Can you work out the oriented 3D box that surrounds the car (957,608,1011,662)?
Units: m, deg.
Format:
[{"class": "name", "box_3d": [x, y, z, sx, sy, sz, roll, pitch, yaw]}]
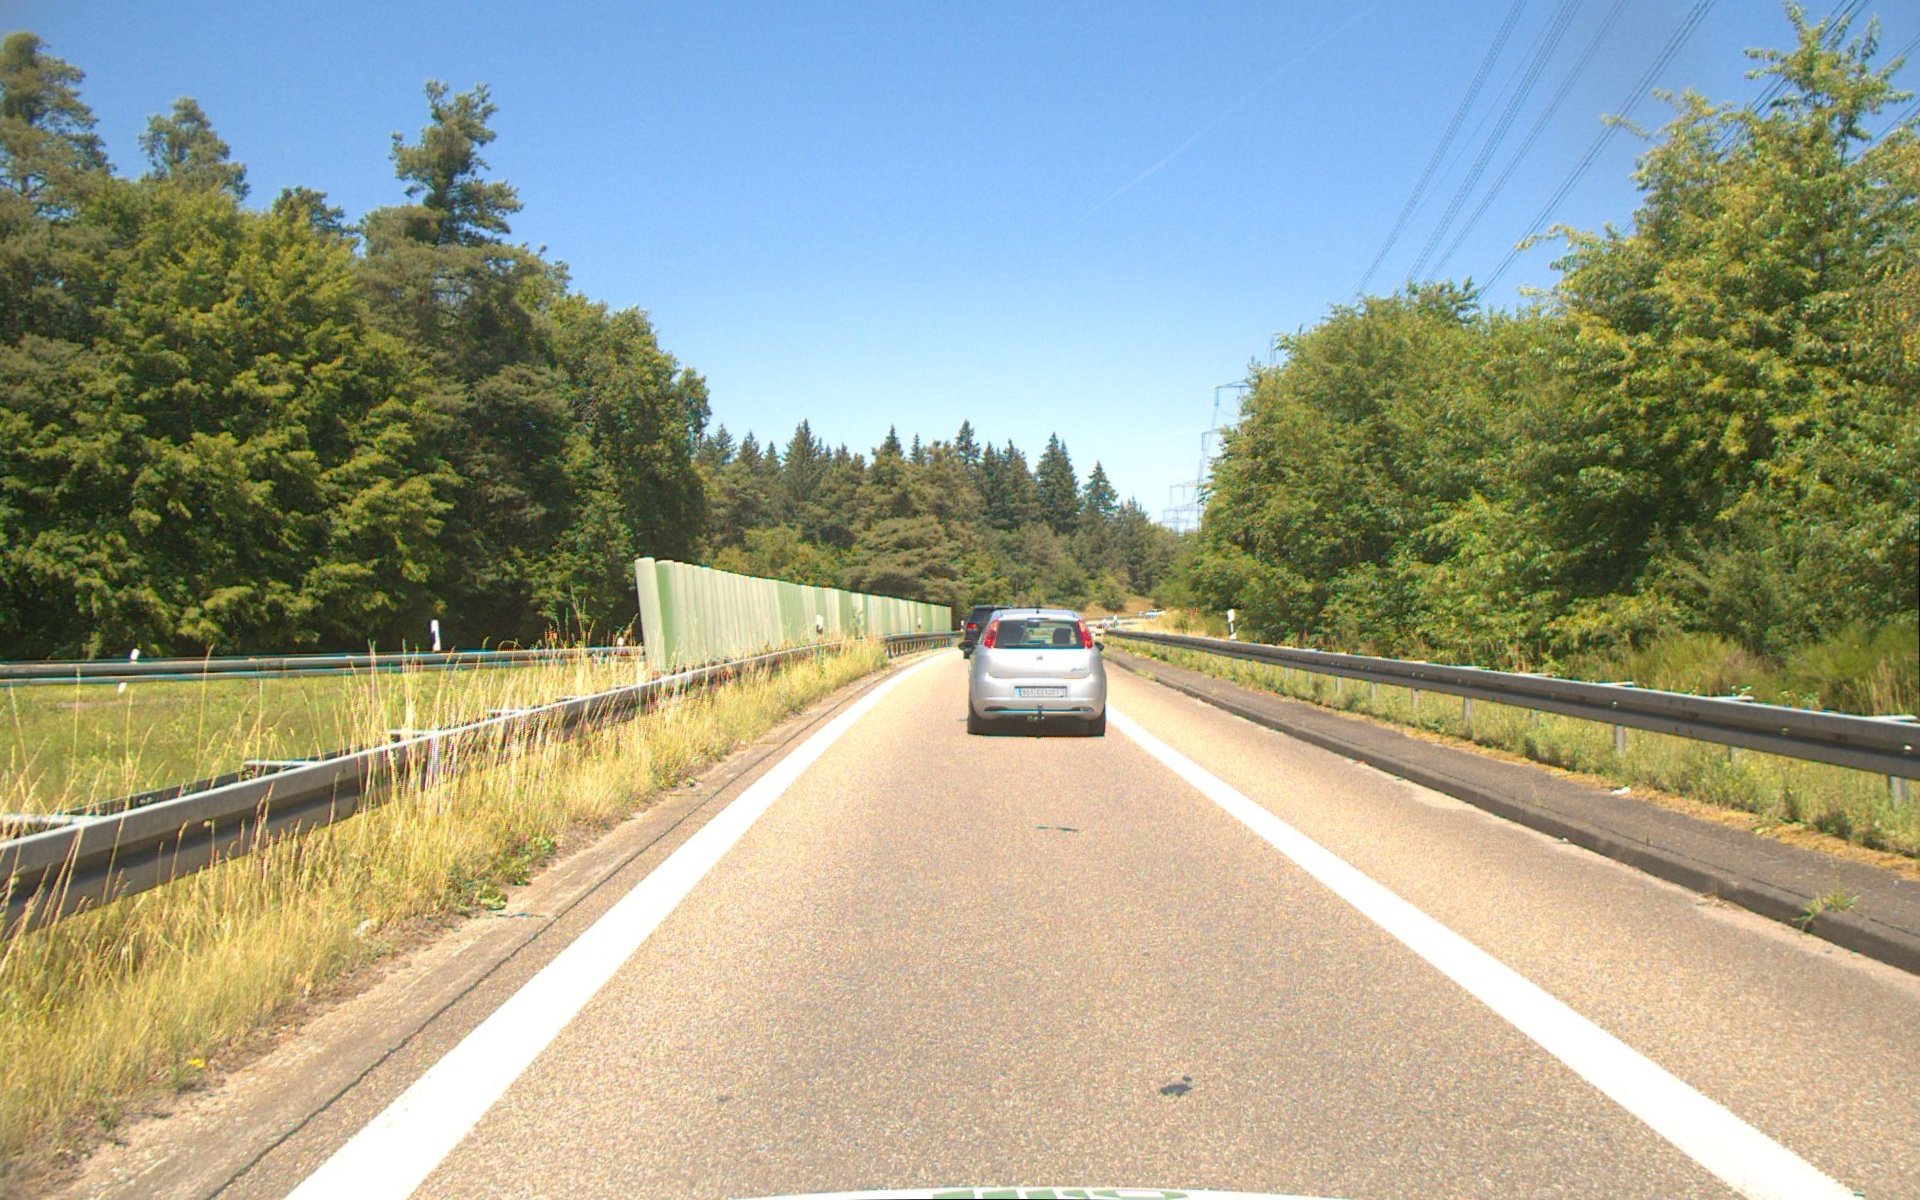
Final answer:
[{"class": "car", "box_3d": [0.781, 1.137, 54.979, 1.672, 1.705, 3.396, 0, 0, -1]}]

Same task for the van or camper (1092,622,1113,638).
[{"class": "van or camper", "box_3d": [15.065, 3.160, 174.895, 1.768, 1.512, 4.003, -1, 0, 12]}]

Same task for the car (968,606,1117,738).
[{"class": "car", "box_3d": [0.952, 0.825, 20.587, 1.671, 1.508, 3.397, 0, 0, 0]}]
